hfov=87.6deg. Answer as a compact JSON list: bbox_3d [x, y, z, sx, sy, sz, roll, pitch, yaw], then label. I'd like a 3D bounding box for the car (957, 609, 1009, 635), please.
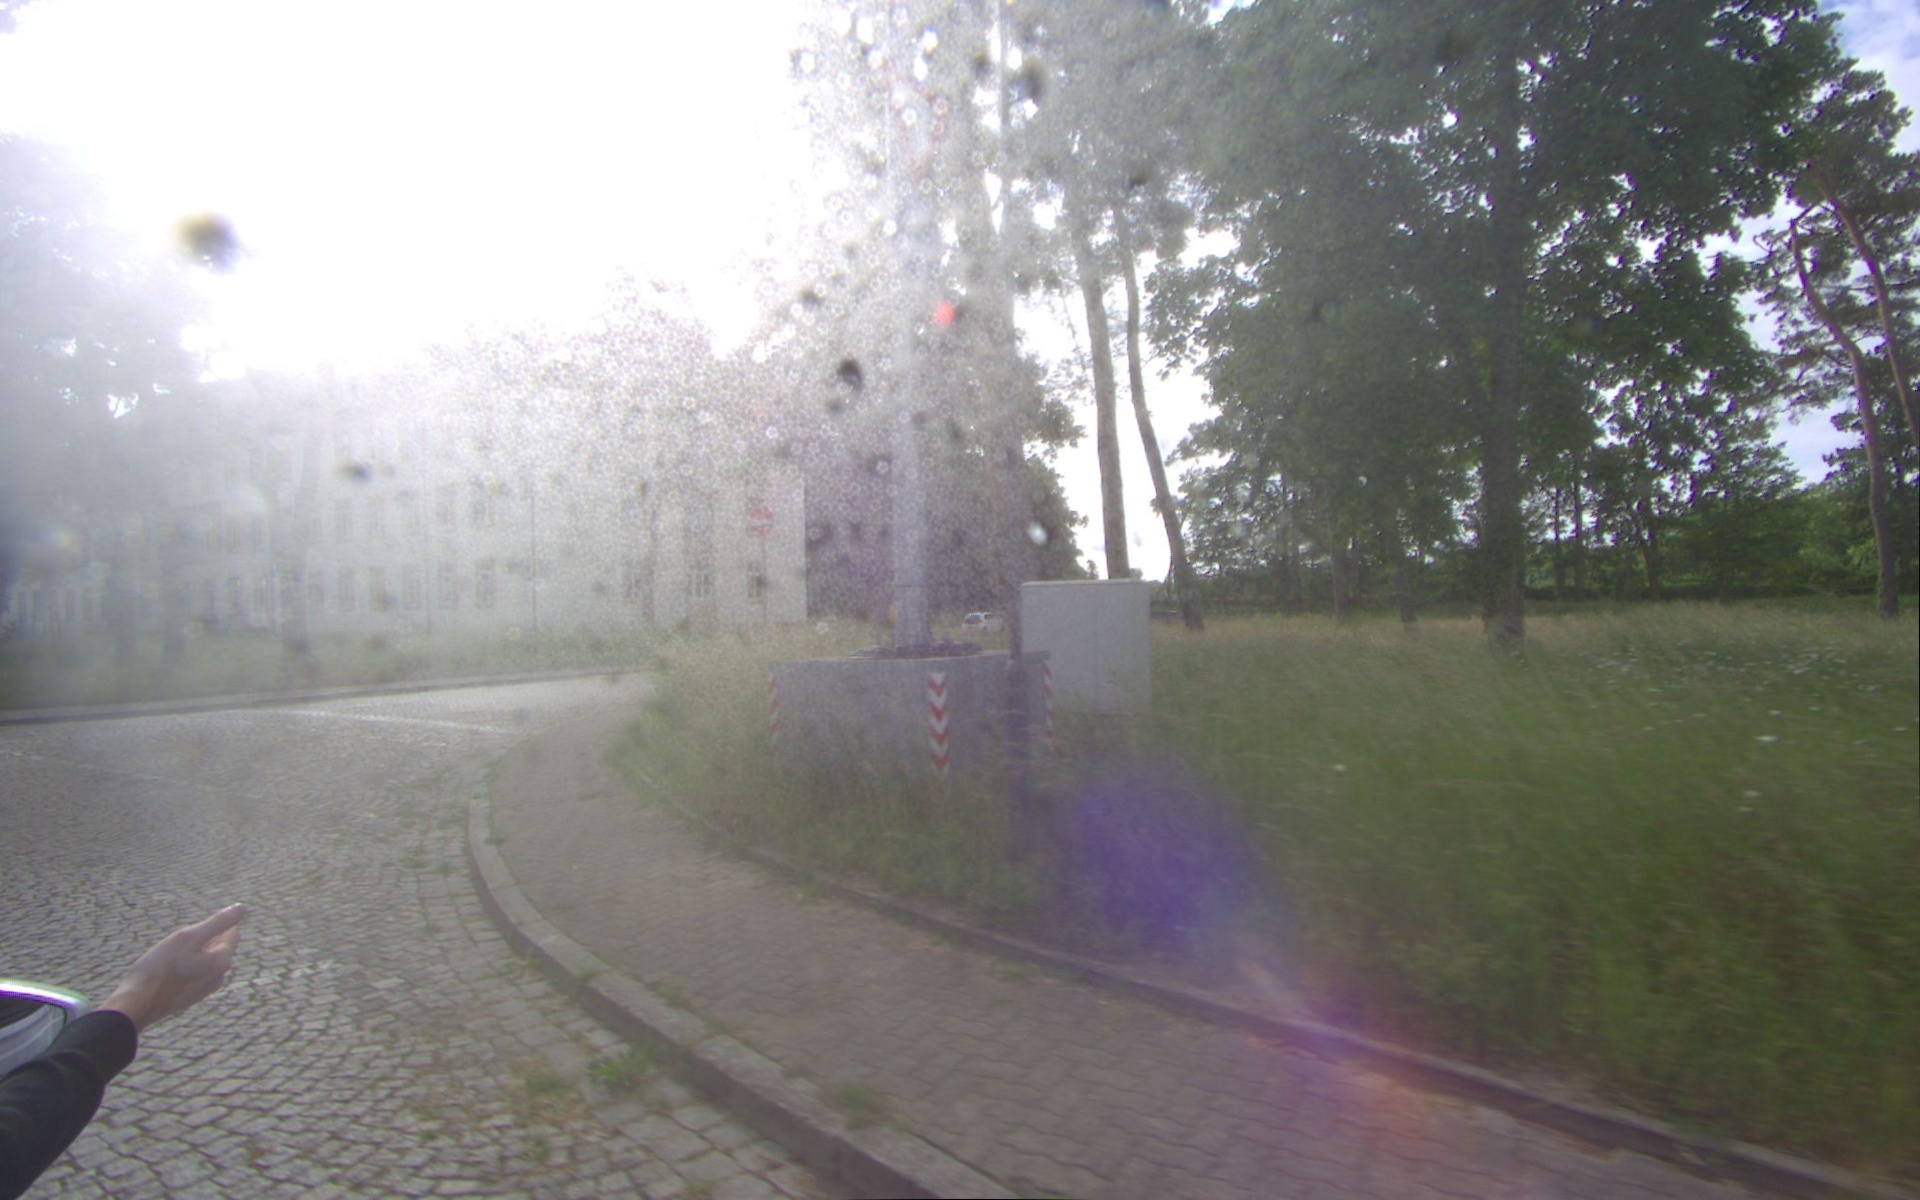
[{"bbox_3d":[1.544,1.413,64.718,1.748,1.553,3.675,-1,0,32],"label":"car"}]
